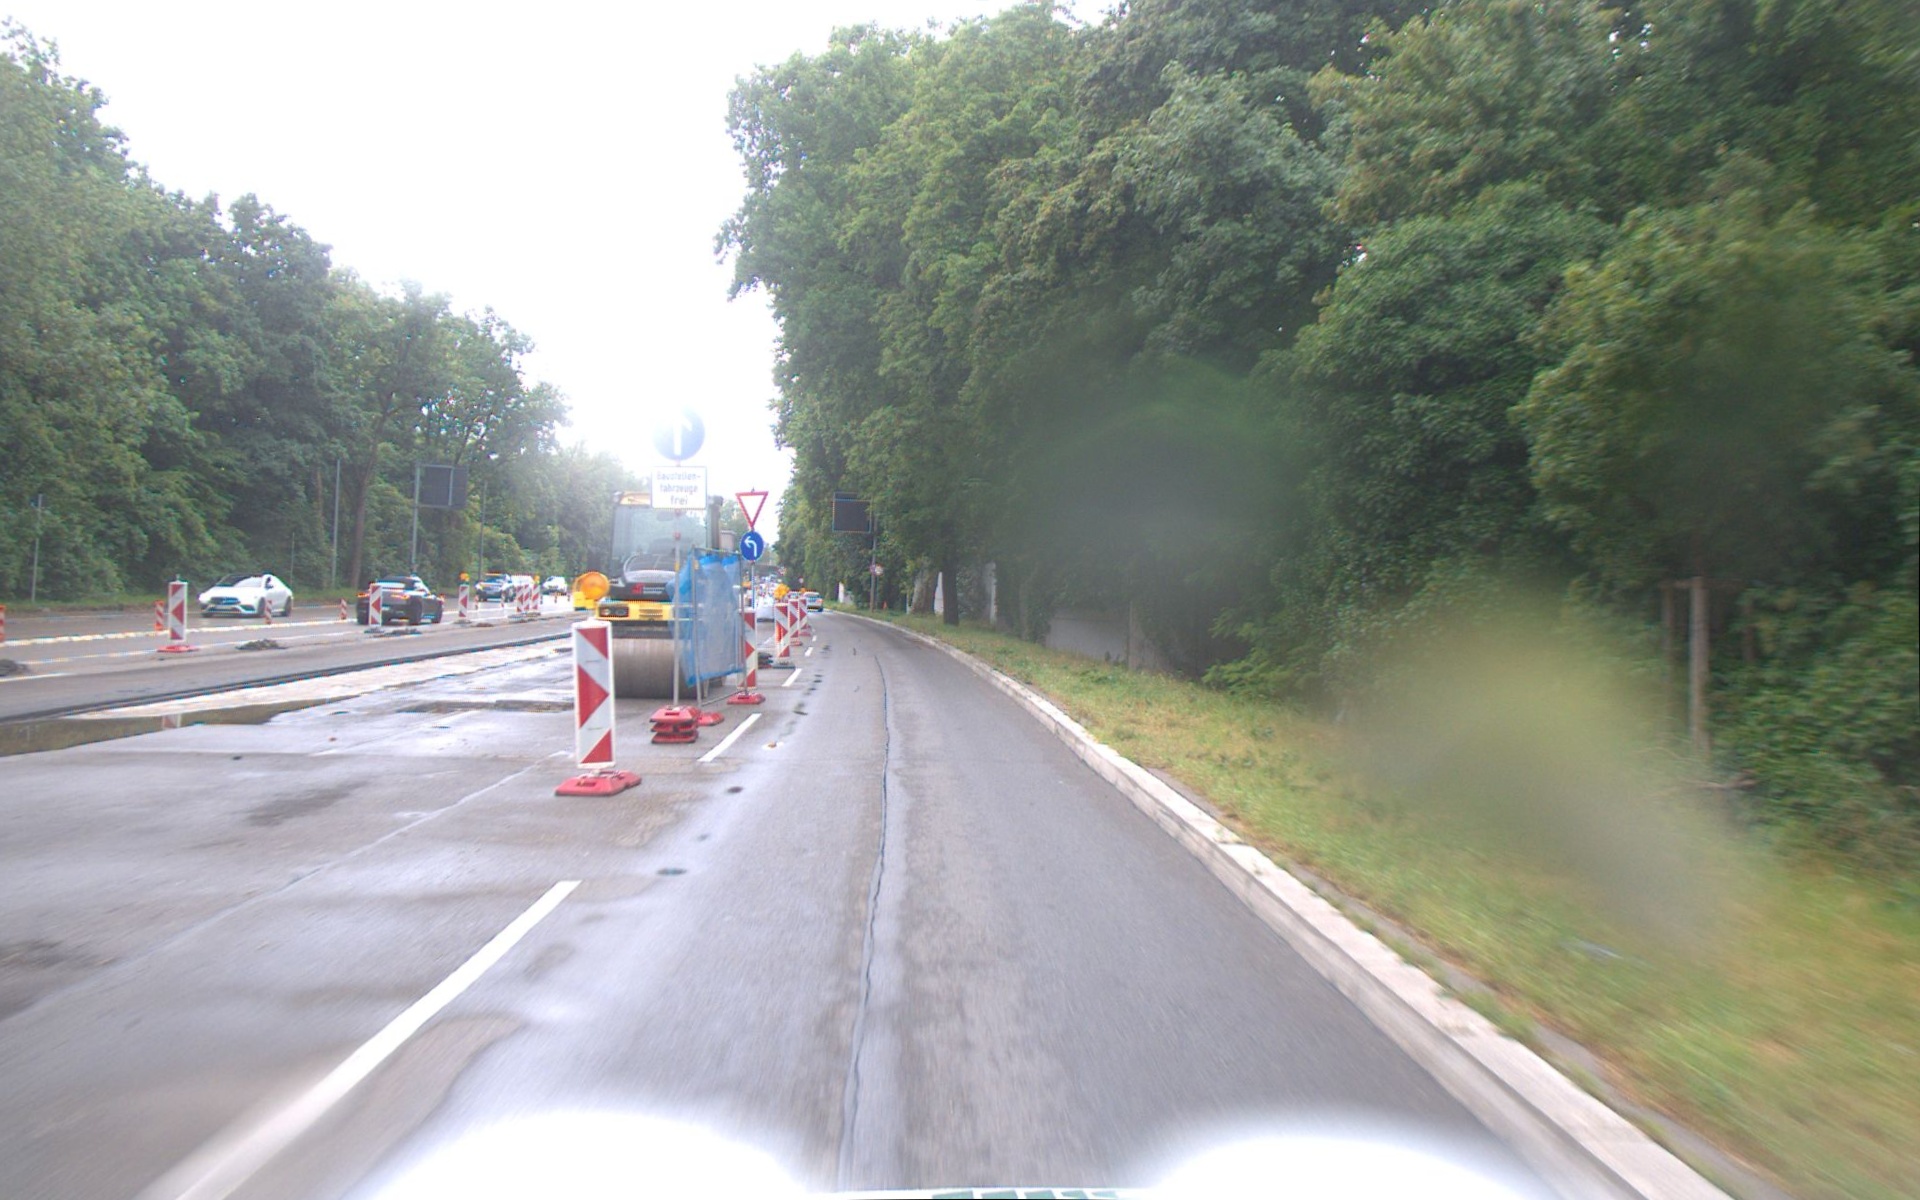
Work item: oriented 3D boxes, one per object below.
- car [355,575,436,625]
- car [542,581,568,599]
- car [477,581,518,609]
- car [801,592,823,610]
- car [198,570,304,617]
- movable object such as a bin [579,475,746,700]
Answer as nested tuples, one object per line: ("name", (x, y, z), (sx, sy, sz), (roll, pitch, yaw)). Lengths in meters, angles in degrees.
("car", (-17.720, -0.028, 52.069), (1.577, 1.429, 4.035), (3, 0, -7))
("car", (-34.895, -0.856, 142.707), (1.634, 1.568, 4.152), (0, 0, -6))
("car", (-28.925, -0.318, 103.594), (1.743, 1.692, 4.908), (0, 0, -7))
("car", (-11.378, 0.043, 127.293), (1.665, 1.359, 3.487), (0, 0, -6))
("car", (-23.333, -0.219, 54.595), (1.749, 1.451, 4.466), (1, 0, -3))
("movable object such as a bin", (-4.414, -0.171, 25.274), (1.767, 3.037, 5.242), (1, 0, -3))
